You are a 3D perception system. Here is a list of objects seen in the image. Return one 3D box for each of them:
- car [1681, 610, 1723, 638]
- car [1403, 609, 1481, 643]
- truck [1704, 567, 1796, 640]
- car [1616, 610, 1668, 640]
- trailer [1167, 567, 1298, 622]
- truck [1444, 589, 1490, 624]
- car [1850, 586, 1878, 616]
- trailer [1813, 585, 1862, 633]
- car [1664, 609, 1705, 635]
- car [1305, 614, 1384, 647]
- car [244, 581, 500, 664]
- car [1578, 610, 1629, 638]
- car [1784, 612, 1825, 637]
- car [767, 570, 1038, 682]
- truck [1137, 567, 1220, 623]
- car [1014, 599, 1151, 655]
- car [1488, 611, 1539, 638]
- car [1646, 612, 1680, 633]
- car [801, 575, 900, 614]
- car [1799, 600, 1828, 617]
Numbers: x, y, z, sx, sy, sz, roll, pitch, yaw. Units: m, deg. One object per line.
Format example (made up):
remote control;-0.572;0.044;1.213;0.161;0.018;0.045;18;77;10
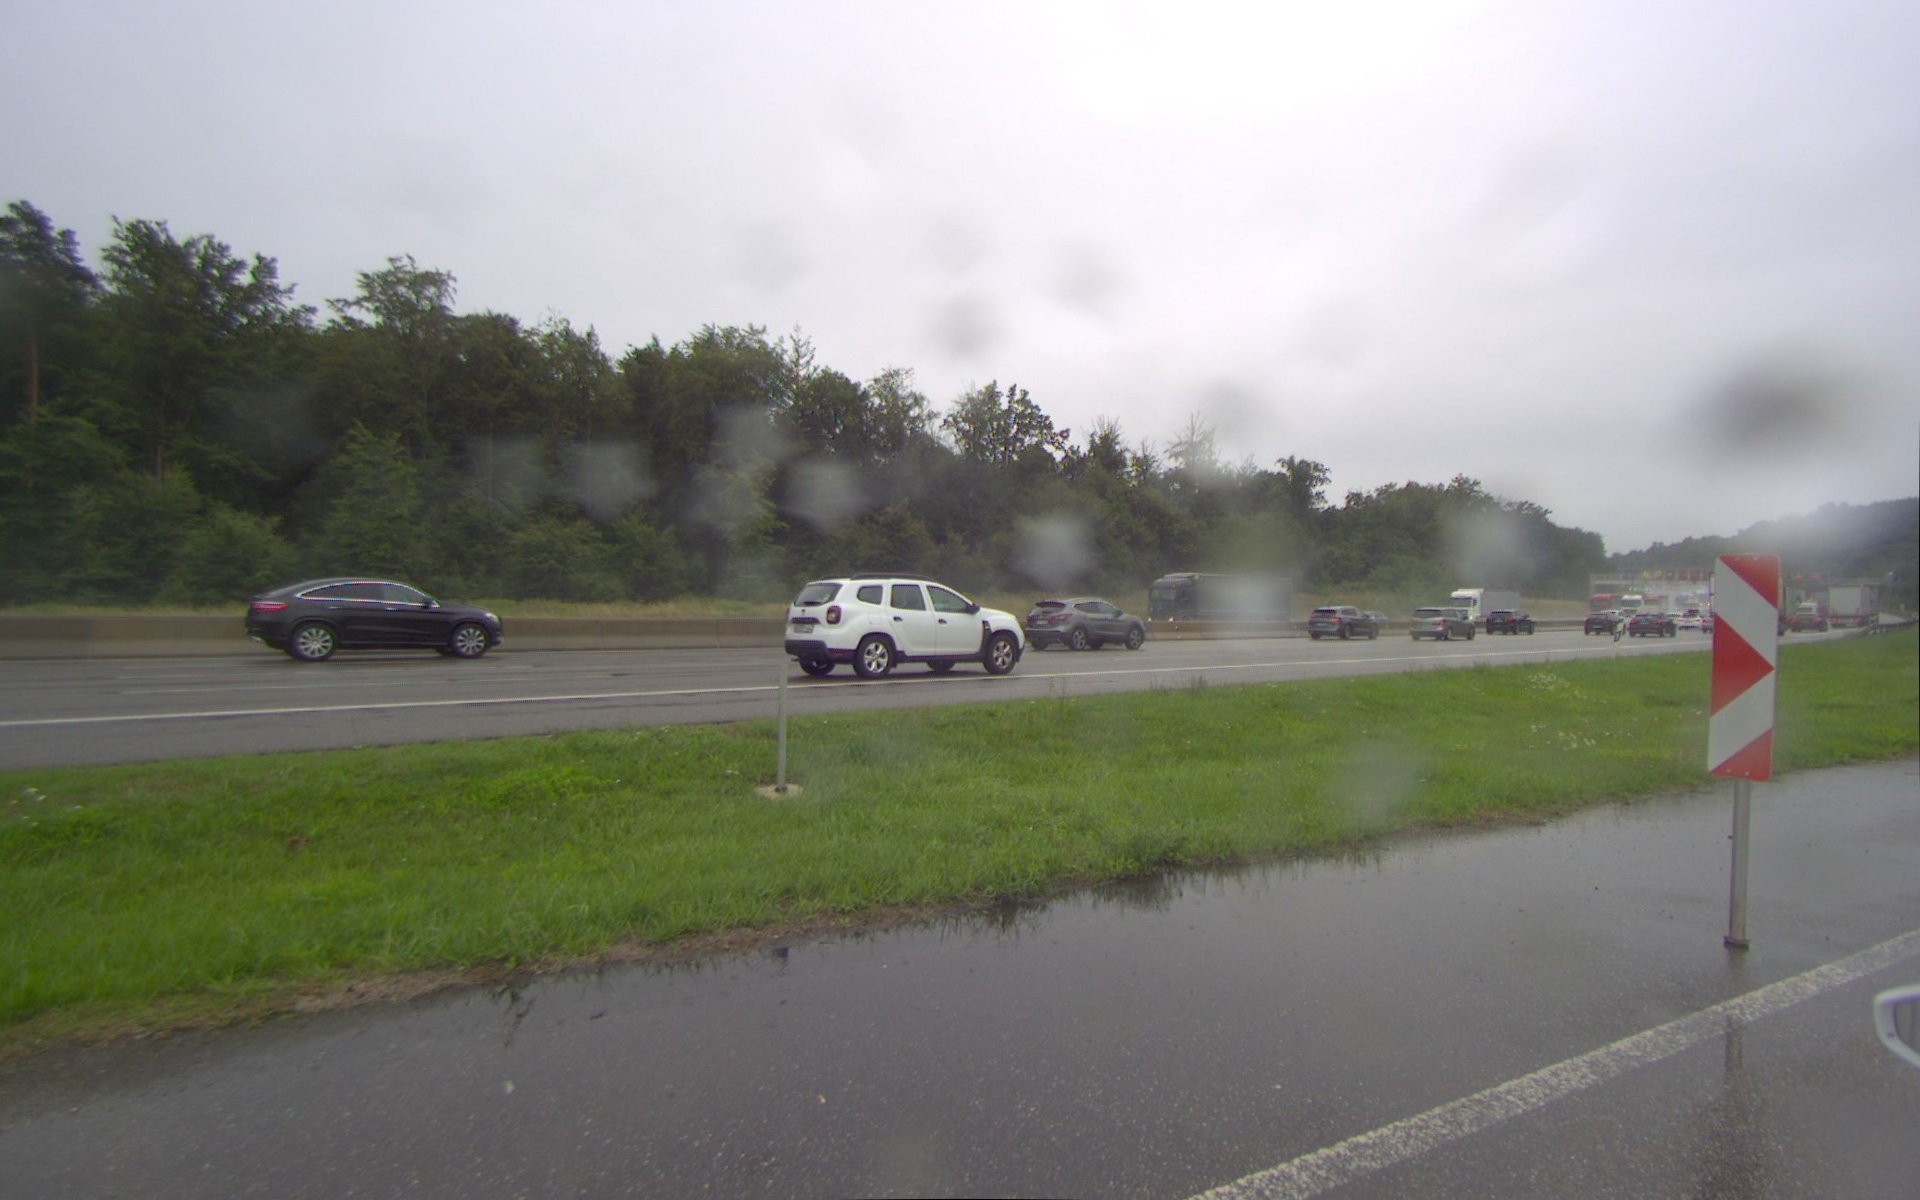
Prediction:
car;56.065;1.805;75.902;4.304;1.997;1.771;1;0;-43
car;23.592;1.261;49.118;4.297;1.547;1.774;1;-1;-39
truck;50.835;0.359;64.479;11.757;4.349;2.823;2;-2;-43
car;41.270;1.516;60.762;3.817;1.759;1.760;1;-1;-42
trailer;21.070;-0.359;76.779;13.311;3.863;2.999;0;2;-43
truck;55.552;0.659;110.022;4.725;3.582;2.689;-1;5;-42
car;112.074;0.176;124.504;2.346;3.532;4.787;5;3;43
trailer;90.219;1.049;103.161;3.510;4.673;12.051;0;-1;43
car;63.026;1.913;87.359;3.971;2.041;1.975;1;2;-43
car;19.016;1.489;49.598;4.421;1.594;1.705;1;-1;-39
car;-12.427;0.491;21.410;4.489;1.596;1.690;2;-2;-40
car;42.842;1.598;66.853;4.068;1.759;1.760;1;-2;-41
car;66.788;1.937;79.407;3.971;1.840;1.975;1;1;-43
car;-0.855;0.421;16.564;4.288;1.607;1.771;1;-2;-40
truck;15.647;-0.392;71.732;5.603;3.797;3.013;0;2;-43
car;3.811;0.822;30.848;4.299;1.595;1.704;1;-1;-40
car;36.692;1.606;66.563;4.069;1.759;1.760;1;-1;-42
car;69.805;2.206;99.708;3.971;2.040;1.975;1;-1;-43
car;-5.715;-0.252;52.719;4.885;1.860;1.976;2;1;-40
car;101.426;1.037;119.359;3.967;1.840;1.976;1;2;-40
